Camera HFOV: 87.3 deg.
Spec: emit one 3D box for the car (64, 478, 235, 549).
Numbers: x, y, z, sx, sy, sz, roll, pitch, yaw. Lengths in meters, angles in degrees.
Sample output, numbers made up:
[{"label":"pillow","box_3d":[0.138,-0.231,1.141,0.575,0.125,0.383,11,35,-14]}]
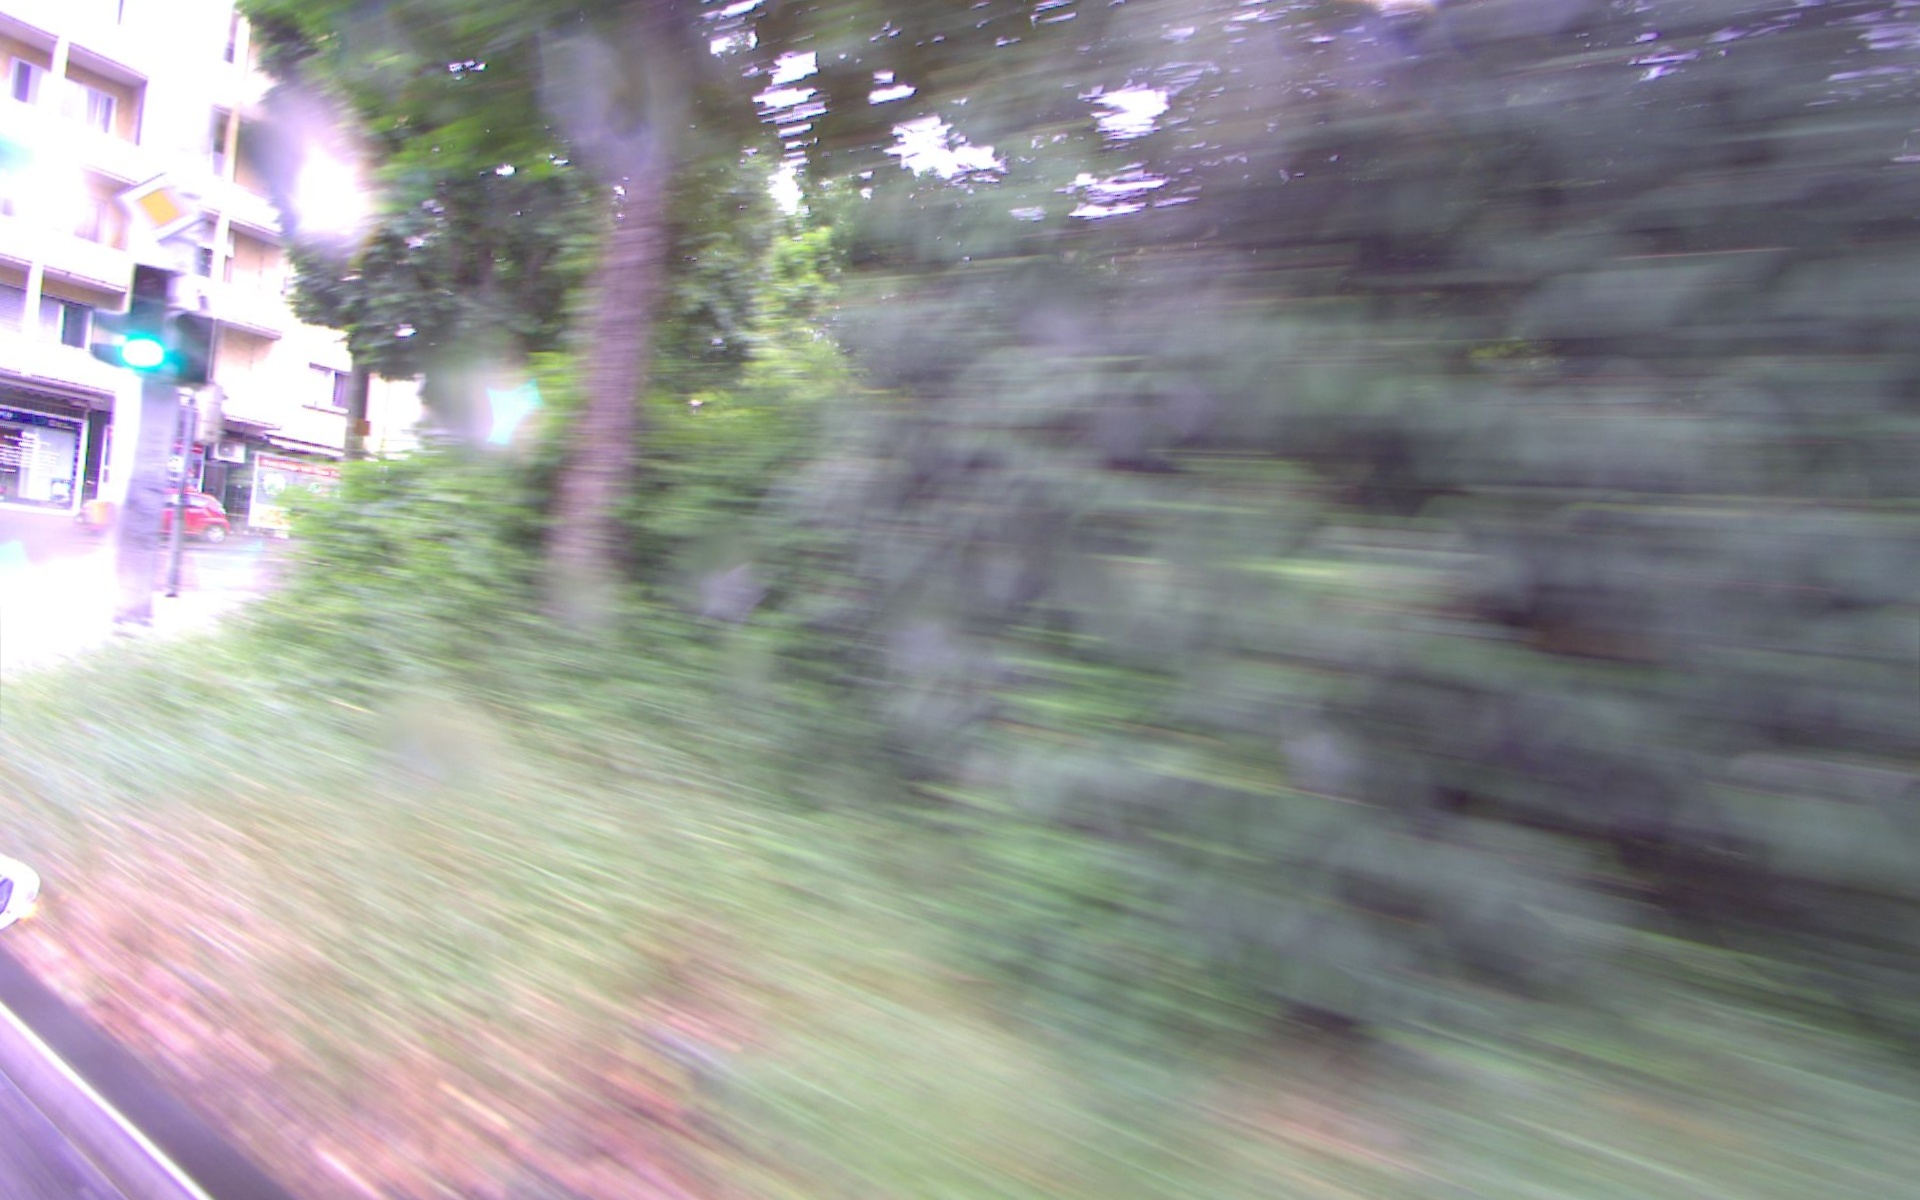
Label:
[{"label":"car","box_3d":[-23.199,-2.448,28.909,1.447,1.578,3.474,8,2,30]}]
